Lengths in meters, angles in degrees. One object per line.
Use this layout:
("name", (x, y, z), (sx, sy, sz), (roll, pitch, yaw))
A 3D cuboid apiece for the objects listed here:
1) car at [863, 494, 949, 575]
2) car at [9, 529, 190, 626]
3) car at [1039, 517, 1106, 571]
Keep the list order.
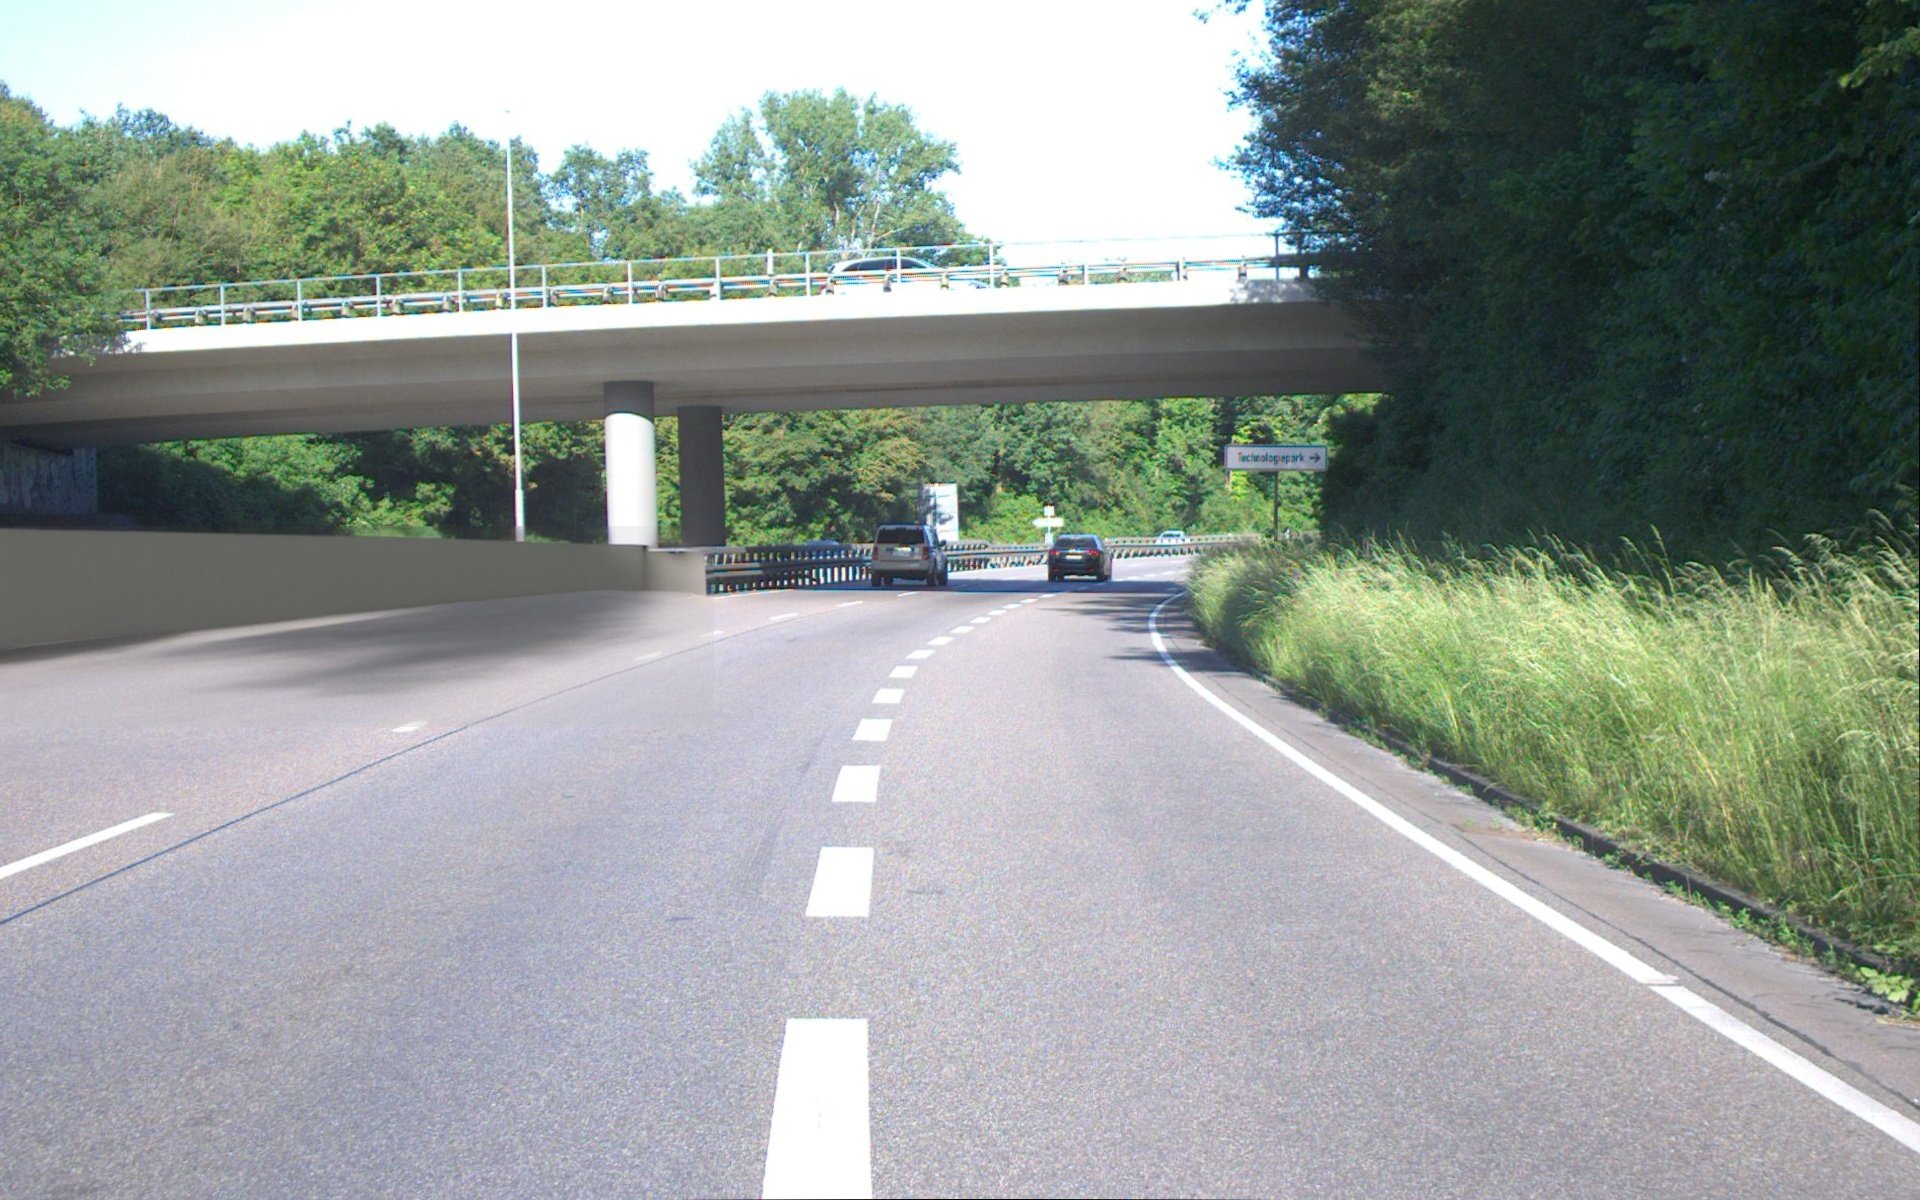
("car", (-1.522, -1.894, 99.134), (1.994, 2.269, 3.999), (-1, 1, 6))
("car", (-16.901, -0.484, 67.787), (1.994, 1.841, 5.310), (0, 1, 3))
("car", (3.612, -1.787, 109.671), (1.739, 1.656, 3.944), (-1, 1, 7))
